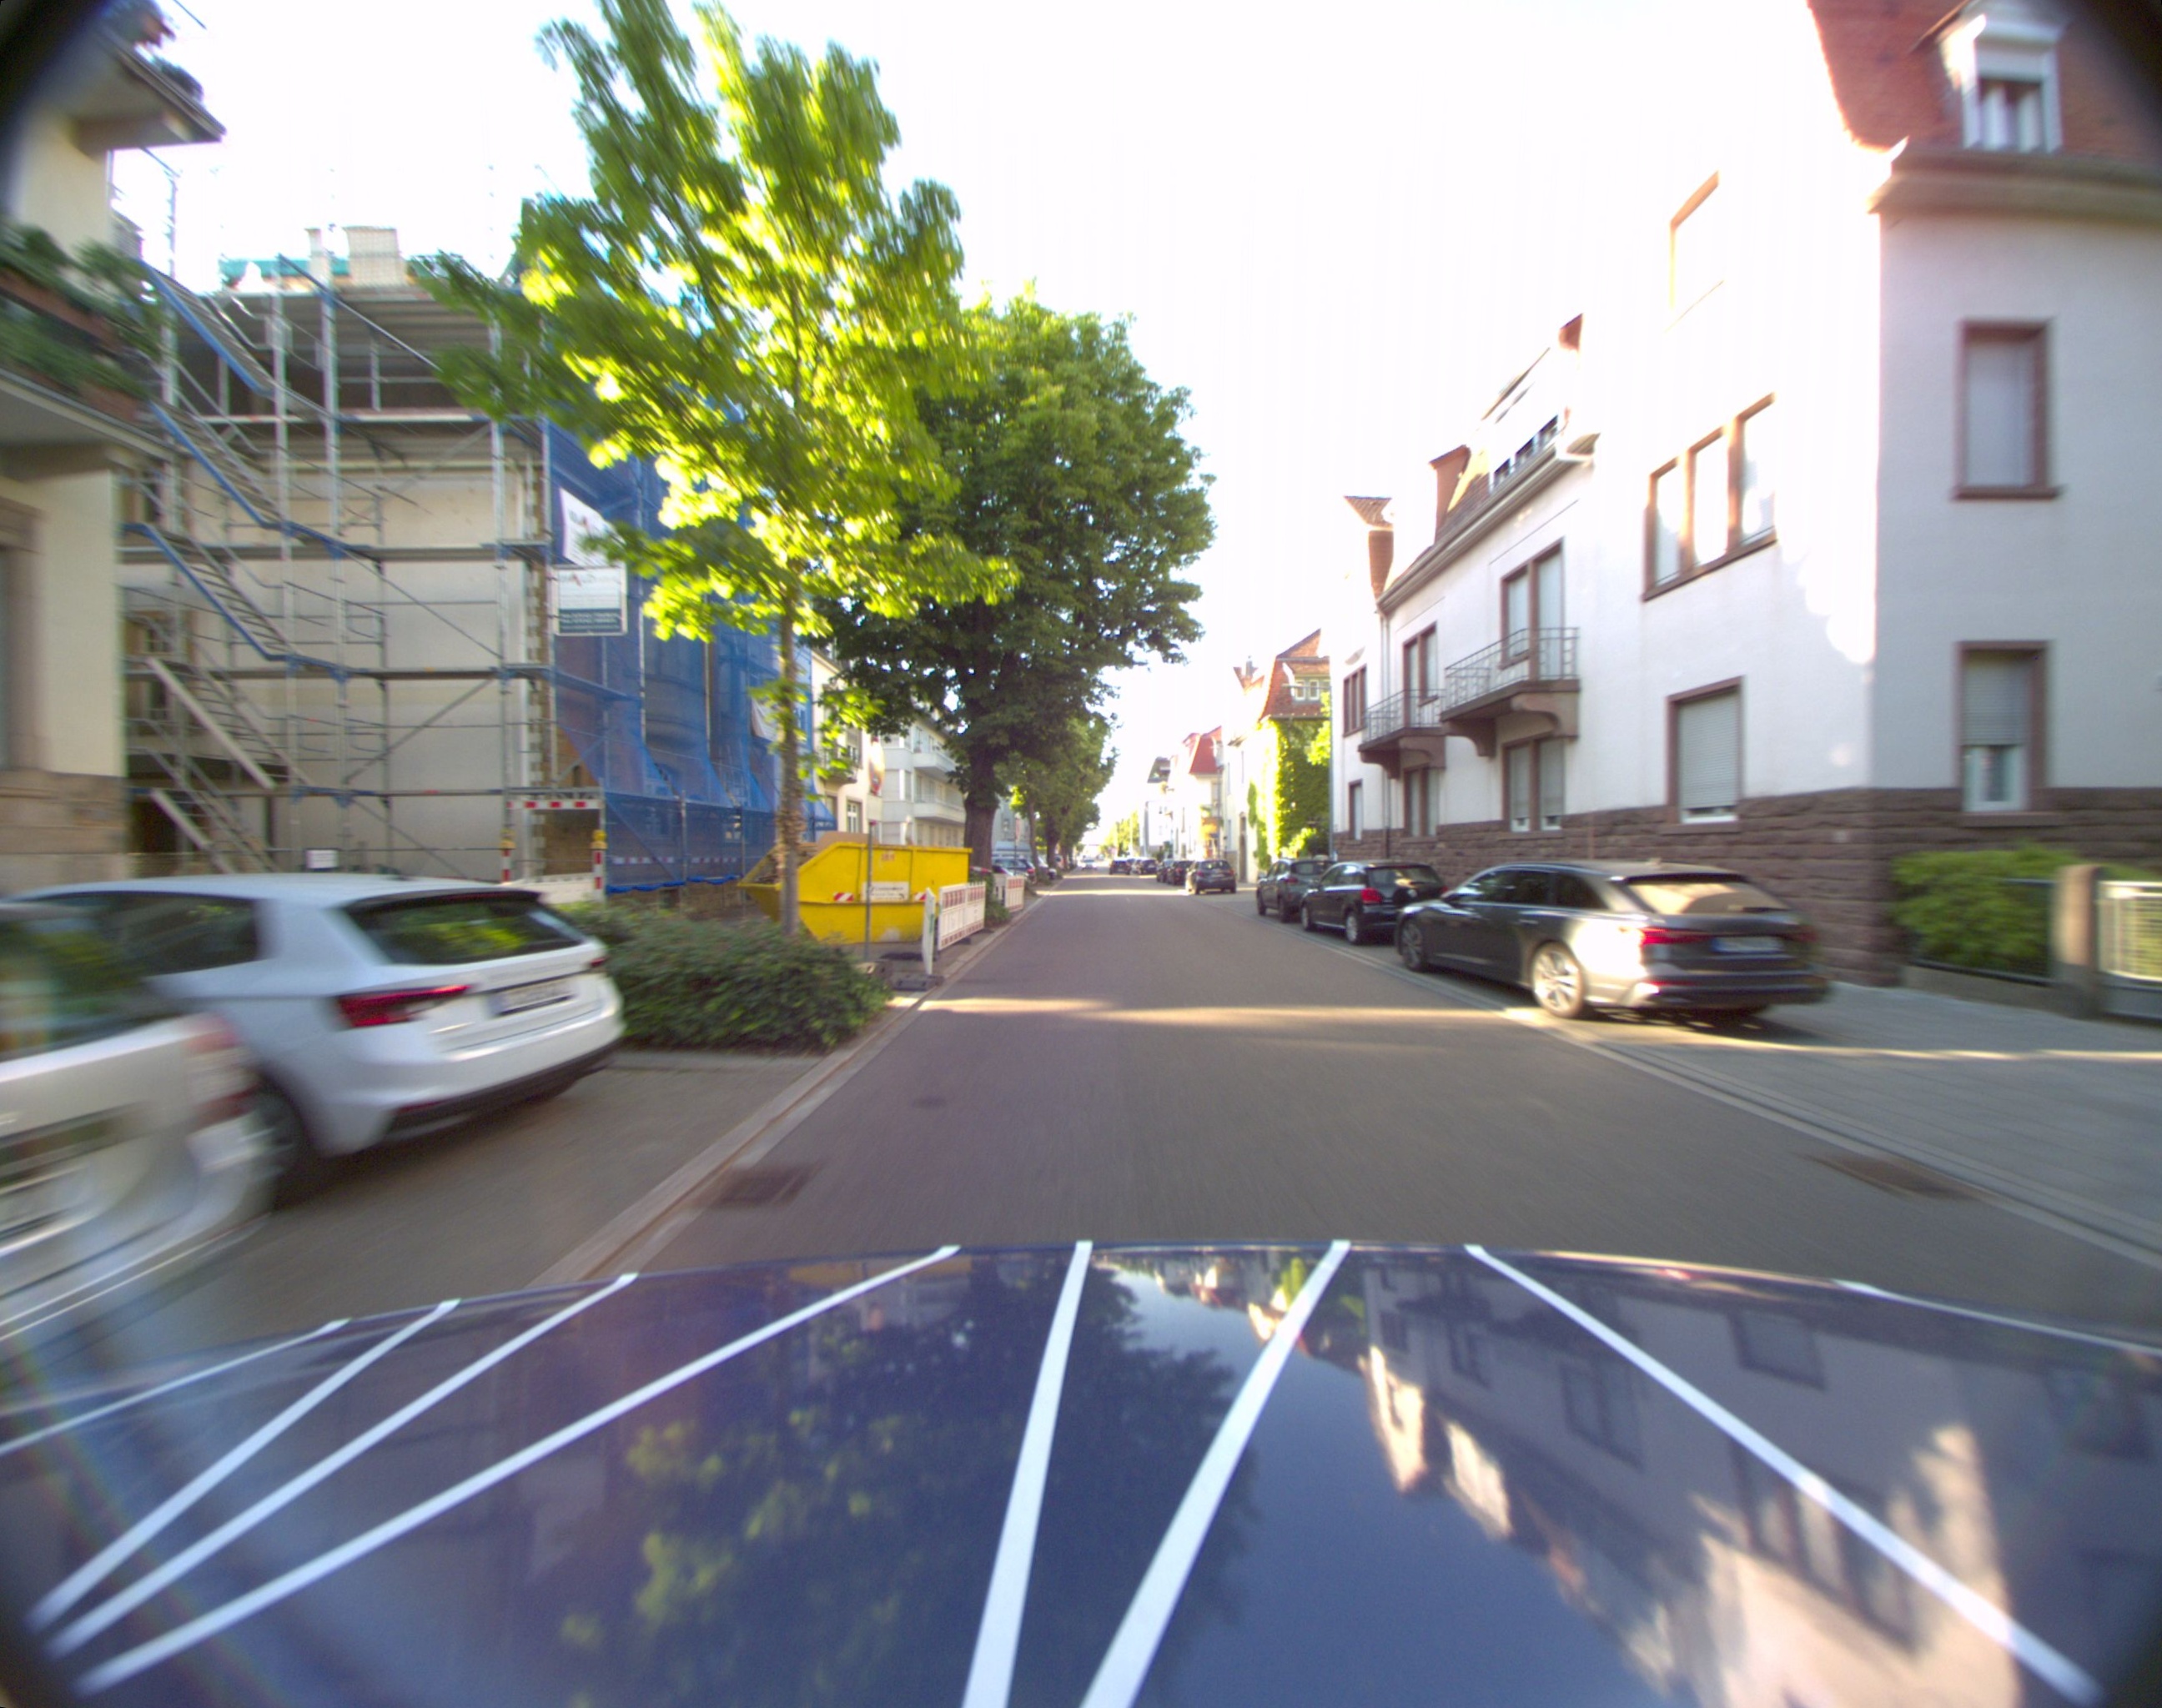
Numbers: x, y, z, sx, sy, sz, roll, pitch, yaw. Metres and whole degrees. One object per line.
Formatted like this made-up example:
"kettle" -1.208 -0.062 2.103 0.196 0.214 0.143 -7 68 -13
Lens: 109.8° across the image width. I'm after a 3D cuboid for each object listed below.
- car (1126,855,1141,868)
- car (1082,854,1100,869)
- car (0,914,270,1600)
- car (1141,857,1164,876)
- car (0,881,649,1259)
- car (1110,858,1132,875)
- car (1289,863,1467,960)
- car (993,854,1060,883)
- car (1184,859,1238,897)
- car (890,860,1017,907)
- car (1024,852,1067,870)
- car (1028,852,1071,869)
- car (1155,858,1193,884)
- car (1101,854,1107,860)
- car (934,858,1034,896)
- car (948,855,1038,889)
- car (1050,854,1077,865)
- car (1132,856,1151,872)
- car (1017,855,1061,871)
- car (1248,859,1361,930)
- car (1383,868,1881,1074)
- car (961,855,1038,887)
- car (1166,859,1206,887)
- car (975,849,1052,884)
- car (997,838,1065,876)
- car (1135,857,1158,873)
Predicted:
"car" 6.257 0.888 90.793 1.654 1.474 3.429 -2 0 2
"car" 1.286 0.903 93.465 2.098 1.700 4.606 -1 0 2
"car" -4.569 0.929 1.550 4.154 1.526 1.687 1 0 3
"car" 6.187 1.056 66.144 1.657 1.445 4.631 -2 0 1
"car" -4.763 0.938 4.182 3.860 1.454 1.687 1 0 6
"car" 3.531 1.107 67.639 1.776 1.440 4.000 0 0 0
"car" 5.268 0.947 14.045 1.658 1.438 3.843 -2 0 -2
"car" -3.491 0.901 48.257 4.188 1.713 1.765 -1 1 -7
"car" 5.496 0.985 32.481 1.657 1.438 4.005 -2 0 1
"car" -4.338 0.974 26.244 3.996 1.483 1.851 1 0 2
"car" -3.664 0.699 78.246 4.313 1.874 1.758 0 1 -2
"car" -3.611 0.747 87.728 4.819 1.925 1.950 0 0 1
"car" 5.786 1.032 47.811 1.714 1.461 4.633 -2 0 -1
"car" 6.795 0.778 224.593 1.913 1.679 4.199 -2 0 1
"car" -4.215 0.991 33.498 4.166 1.530 1.851 1 0 0
"car" -4.357 0.893 38.151 4.343 1.673 1.705 1 0 -2
"car" -2.396 0.730 105.870 3.680 1.434 1.601 0 0 1
"car" 6.029 1.010 76.197 1.585 1.511 3.706 -2 0 -1
"car" -4.114 0.858 75.589 4.313 1.532 1.758 0 0 -2
"car" 5.328 0.911 18.567 1.657 1.477 3.764 -2 0 1
"car" 5.161 0.931 8.180 1.797 1.453 4.776 -1 0 -2
"car" -4.473 0.901 41.846 3.958 1.673 1.706 1 0 4
"car" 5.802 1.025 42.429 1.658 1.407 4.167 -2 0 0
"car" -4.011 0.720 46.009 4.481 2.002 1.896 -1 0 -1
"car" -3.841 0.235 59.025 5.109 2.885 2.075 0 0 -2
"car" 6.178 1.033 71.786 1.586 1.468 3.705 -2 0 -3
